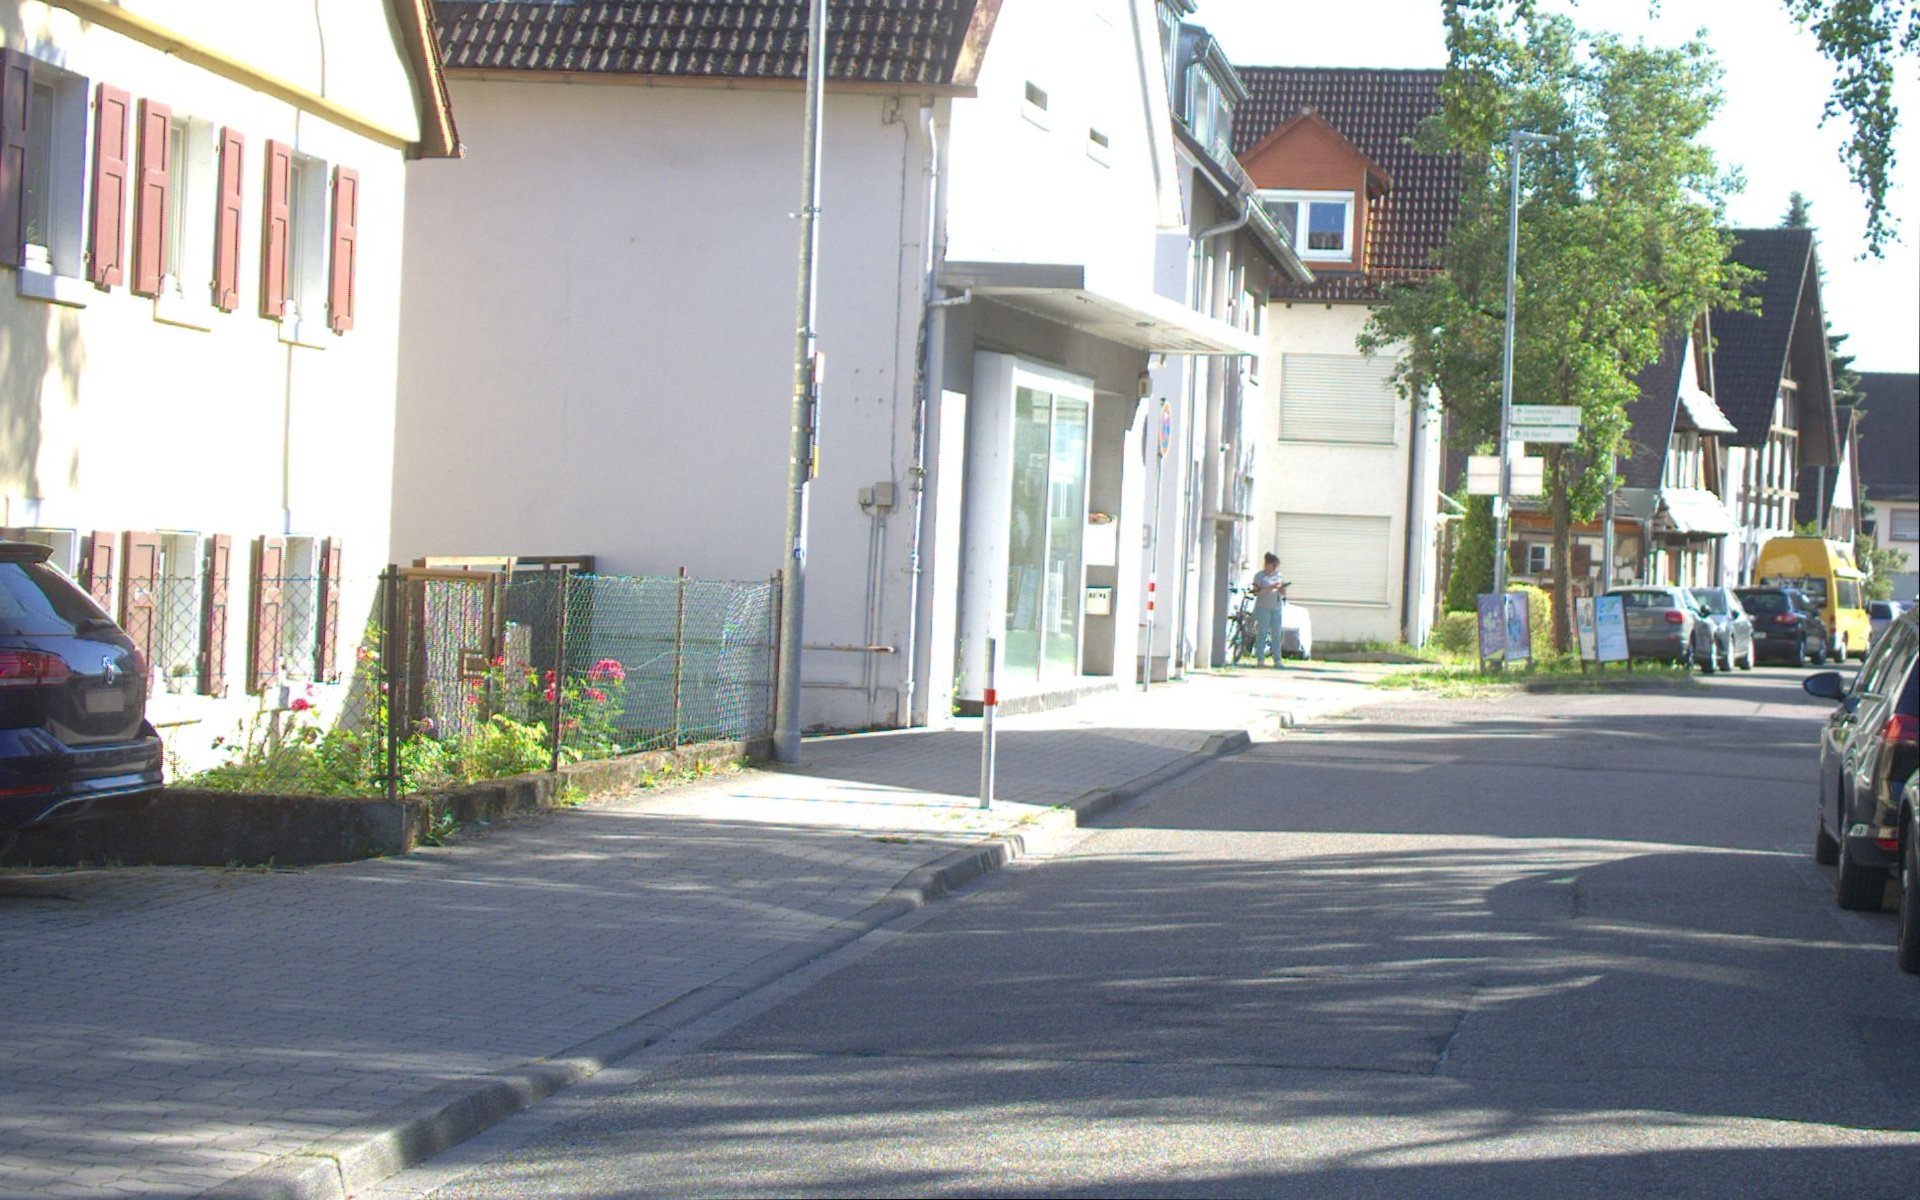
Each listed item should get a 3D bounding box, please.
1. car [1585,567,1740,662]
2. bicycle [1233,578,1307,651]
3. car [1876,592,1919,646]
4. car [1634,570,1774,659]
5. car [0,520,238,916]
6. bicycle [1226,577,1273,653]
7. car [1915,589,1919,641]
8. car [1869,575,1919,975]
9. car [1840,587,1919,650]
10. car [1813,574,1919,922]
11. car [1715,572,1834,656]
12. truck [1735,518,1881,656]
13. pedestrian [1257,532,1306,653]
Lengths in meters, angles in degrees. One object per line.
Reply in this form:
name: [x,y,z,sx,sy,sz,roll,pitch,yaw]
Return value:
car: [12.142,0.259,59.225,1.869,1.500,4.103,3,0,22]
bicycle: [4.716,0.233,52.199,0.579,1.049,2.034,2,0,20]
car: [24.759,0.495,89.228,1.589,1.331,3.611,3,1,19]
car: [13.735,0.273,63.313,1.808,1.500,4.103,3,0,22]
car: [-5.213,0.406,13.808,4.159,1.457,1.848,0,1,7]
bicycle: [4.112,0.226,48.835,0.423,1.049,1.380,2,0,13]
car: [27.966,0.451,97.186,1.589,1.438,3.611,3,1,19]
car: [4.351,0.698,11.966,1.808,1.431,4.284,3,2,9]
car: [22.786,0.442,85.023,1.647,1.428,3.611,3,1,19]
car: [5.122,0.652,16.595,1.808,1.431,4.283,3,2,13]
car: [16.993,0.296,71.622,1.808,1.616,3.876,3,0,22]
truck: [18.973,-0.252,76.740,2.271,2.858,5.776,3,0,22]
pedestrian: [4.573,-0.101,48.892,0.484,1.687,0.556,3,-1,17]
